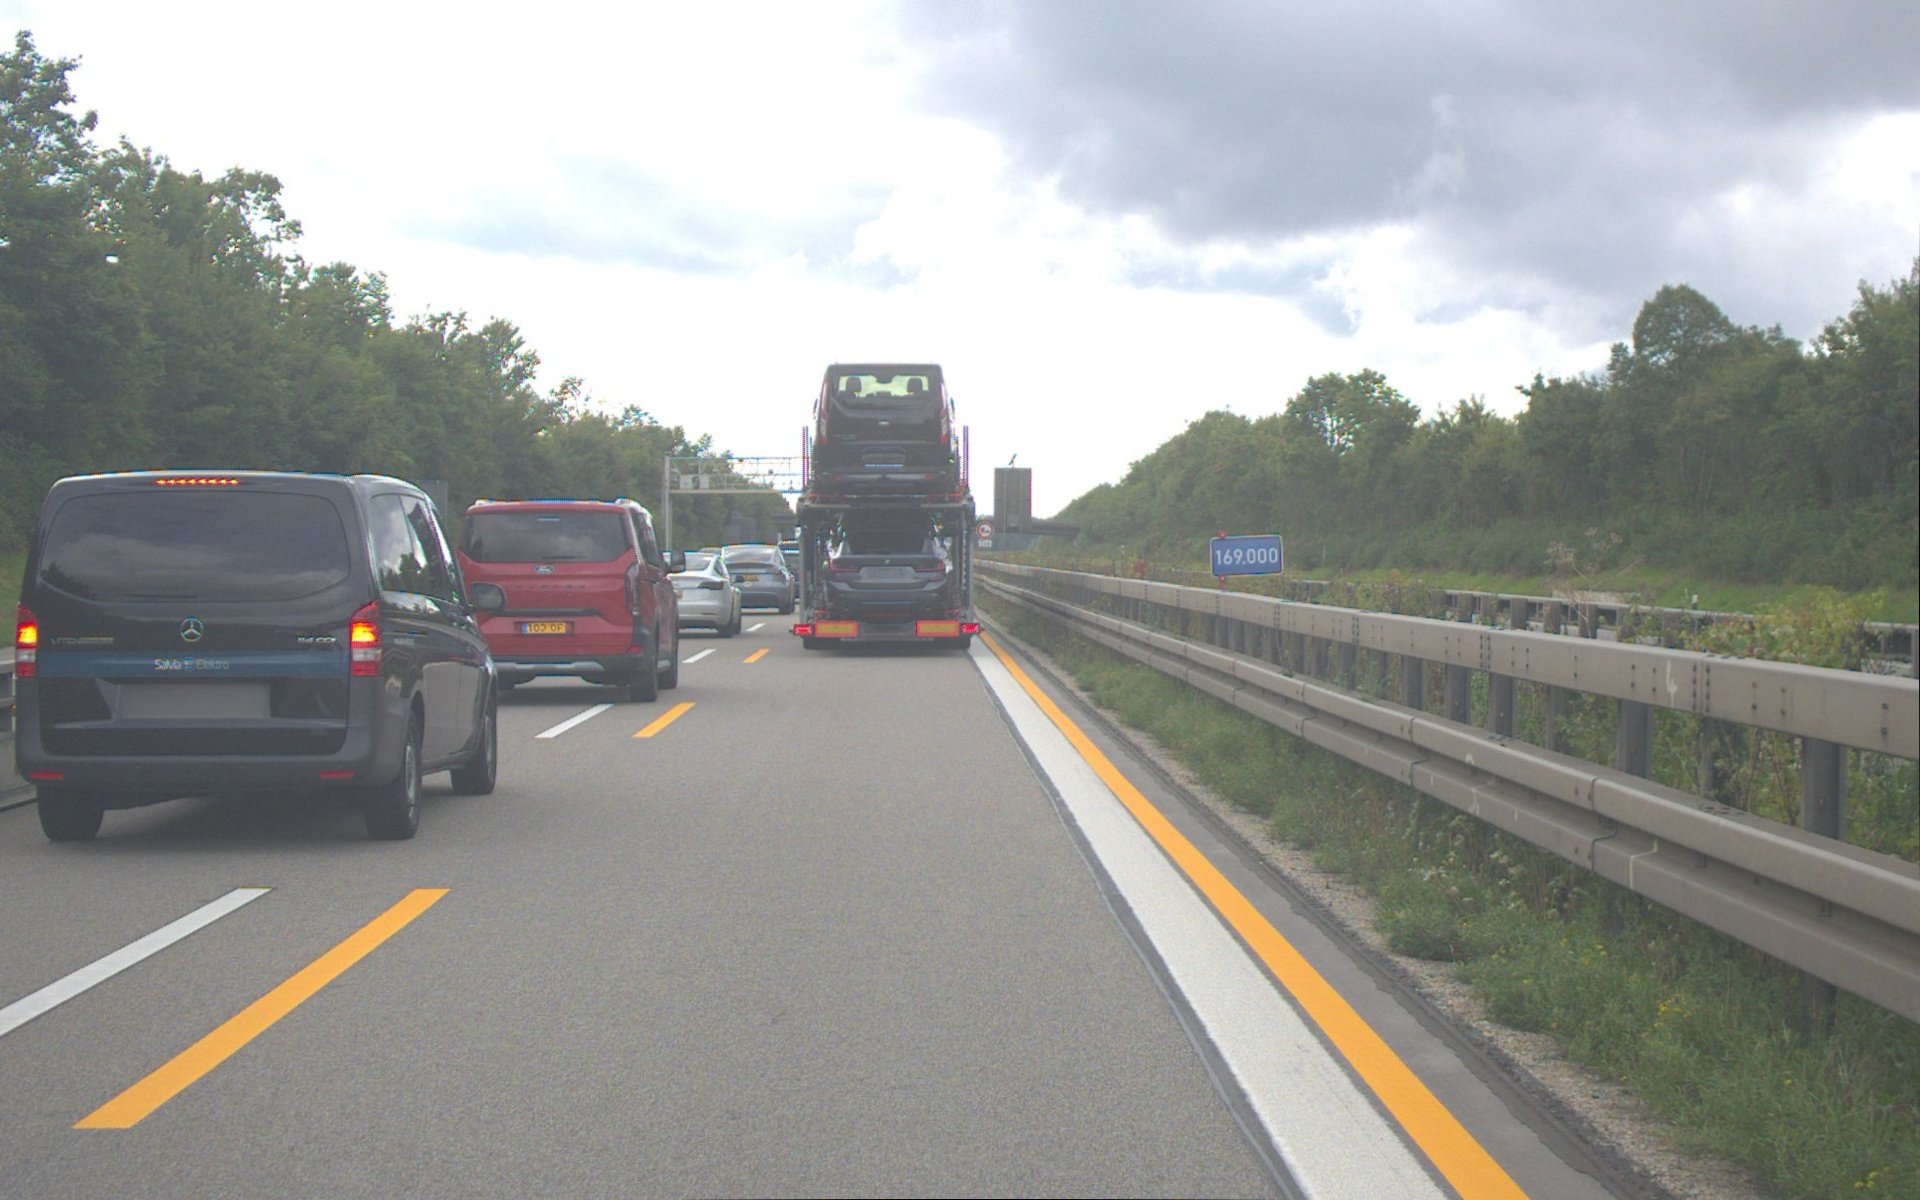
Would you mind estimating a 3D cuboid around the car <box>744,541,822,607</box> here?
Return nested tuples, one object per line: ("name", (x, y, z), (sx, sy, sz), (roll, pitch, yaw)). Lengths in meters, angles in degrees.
("car", (-4.789, -0.718, 93.694), (2.031, 1.751, 4.578), (0, 1, -2))

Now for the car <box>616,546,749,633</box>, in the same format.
("car", (-4.733, -0.213, 59.198), (2.031, 1.426, 4.578), (0, 1, -2))

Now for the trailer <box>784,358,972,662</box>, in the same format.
("trailer", (-1.142, -1.292, 51.889), (2.515, 4.091, 11.114), (0, 1, 0))

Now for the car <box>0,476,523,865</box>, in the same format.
("car", (-3.758, 0.296, 19.162), (1.993, 1.837, 5.610), (-1, 1, -1))

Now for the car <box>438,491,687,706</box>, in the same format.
("car", (-3.914, -0.048, 34.550), (2.031, 2.007, 4.578), (0, 1, -1))

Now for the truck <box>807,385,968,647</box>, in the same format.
("truck", (-1.151, -1.350, 56.637), (2.515, 4.091, 5.685), (0, 1, 0))

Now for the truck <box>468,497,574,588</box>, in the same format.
("truck", (-13.473, -1.776, 105.894), (2.490, 2.708, 6.667), (0, 1, -1))

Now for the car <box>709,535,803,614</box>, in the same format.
("car", (-4.710, -0.609, 79.839), (2.031, 1.751, 4.578), (0, 1, -2))
